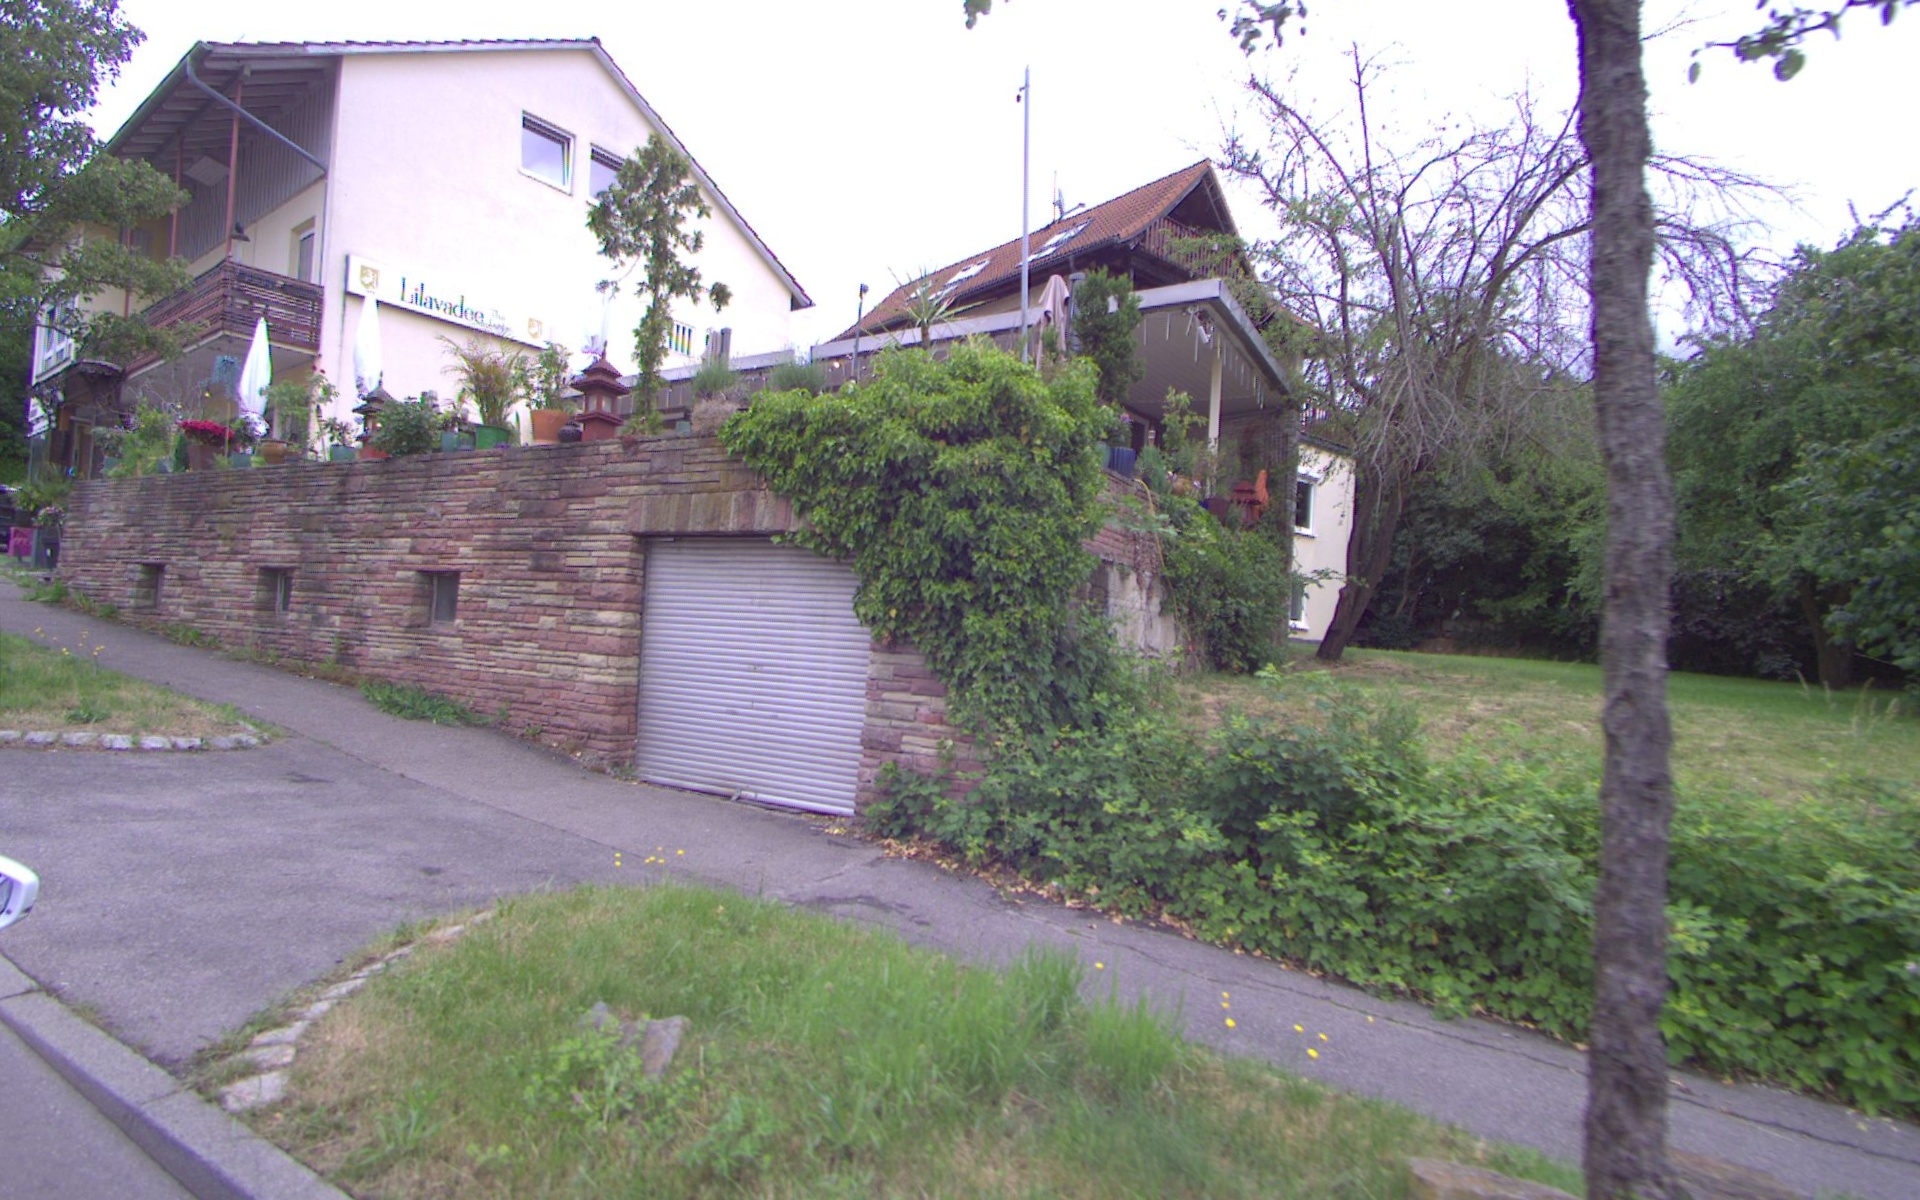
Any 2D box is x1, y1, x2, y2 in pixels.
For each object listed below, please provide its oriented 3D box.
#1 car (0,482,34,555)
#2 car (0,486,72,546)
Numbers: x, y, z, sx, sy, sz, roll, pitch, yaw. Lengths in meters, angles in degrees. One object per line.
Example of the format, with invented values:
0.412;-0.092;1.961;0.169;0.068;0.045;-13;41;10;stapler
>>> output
-22.306;-1.938;22.205;4.316;1.492;1.847;6;2;35;car
-31.091;-2.809;31.845;4.216;1.612;1.970;6;-3;-37;car
